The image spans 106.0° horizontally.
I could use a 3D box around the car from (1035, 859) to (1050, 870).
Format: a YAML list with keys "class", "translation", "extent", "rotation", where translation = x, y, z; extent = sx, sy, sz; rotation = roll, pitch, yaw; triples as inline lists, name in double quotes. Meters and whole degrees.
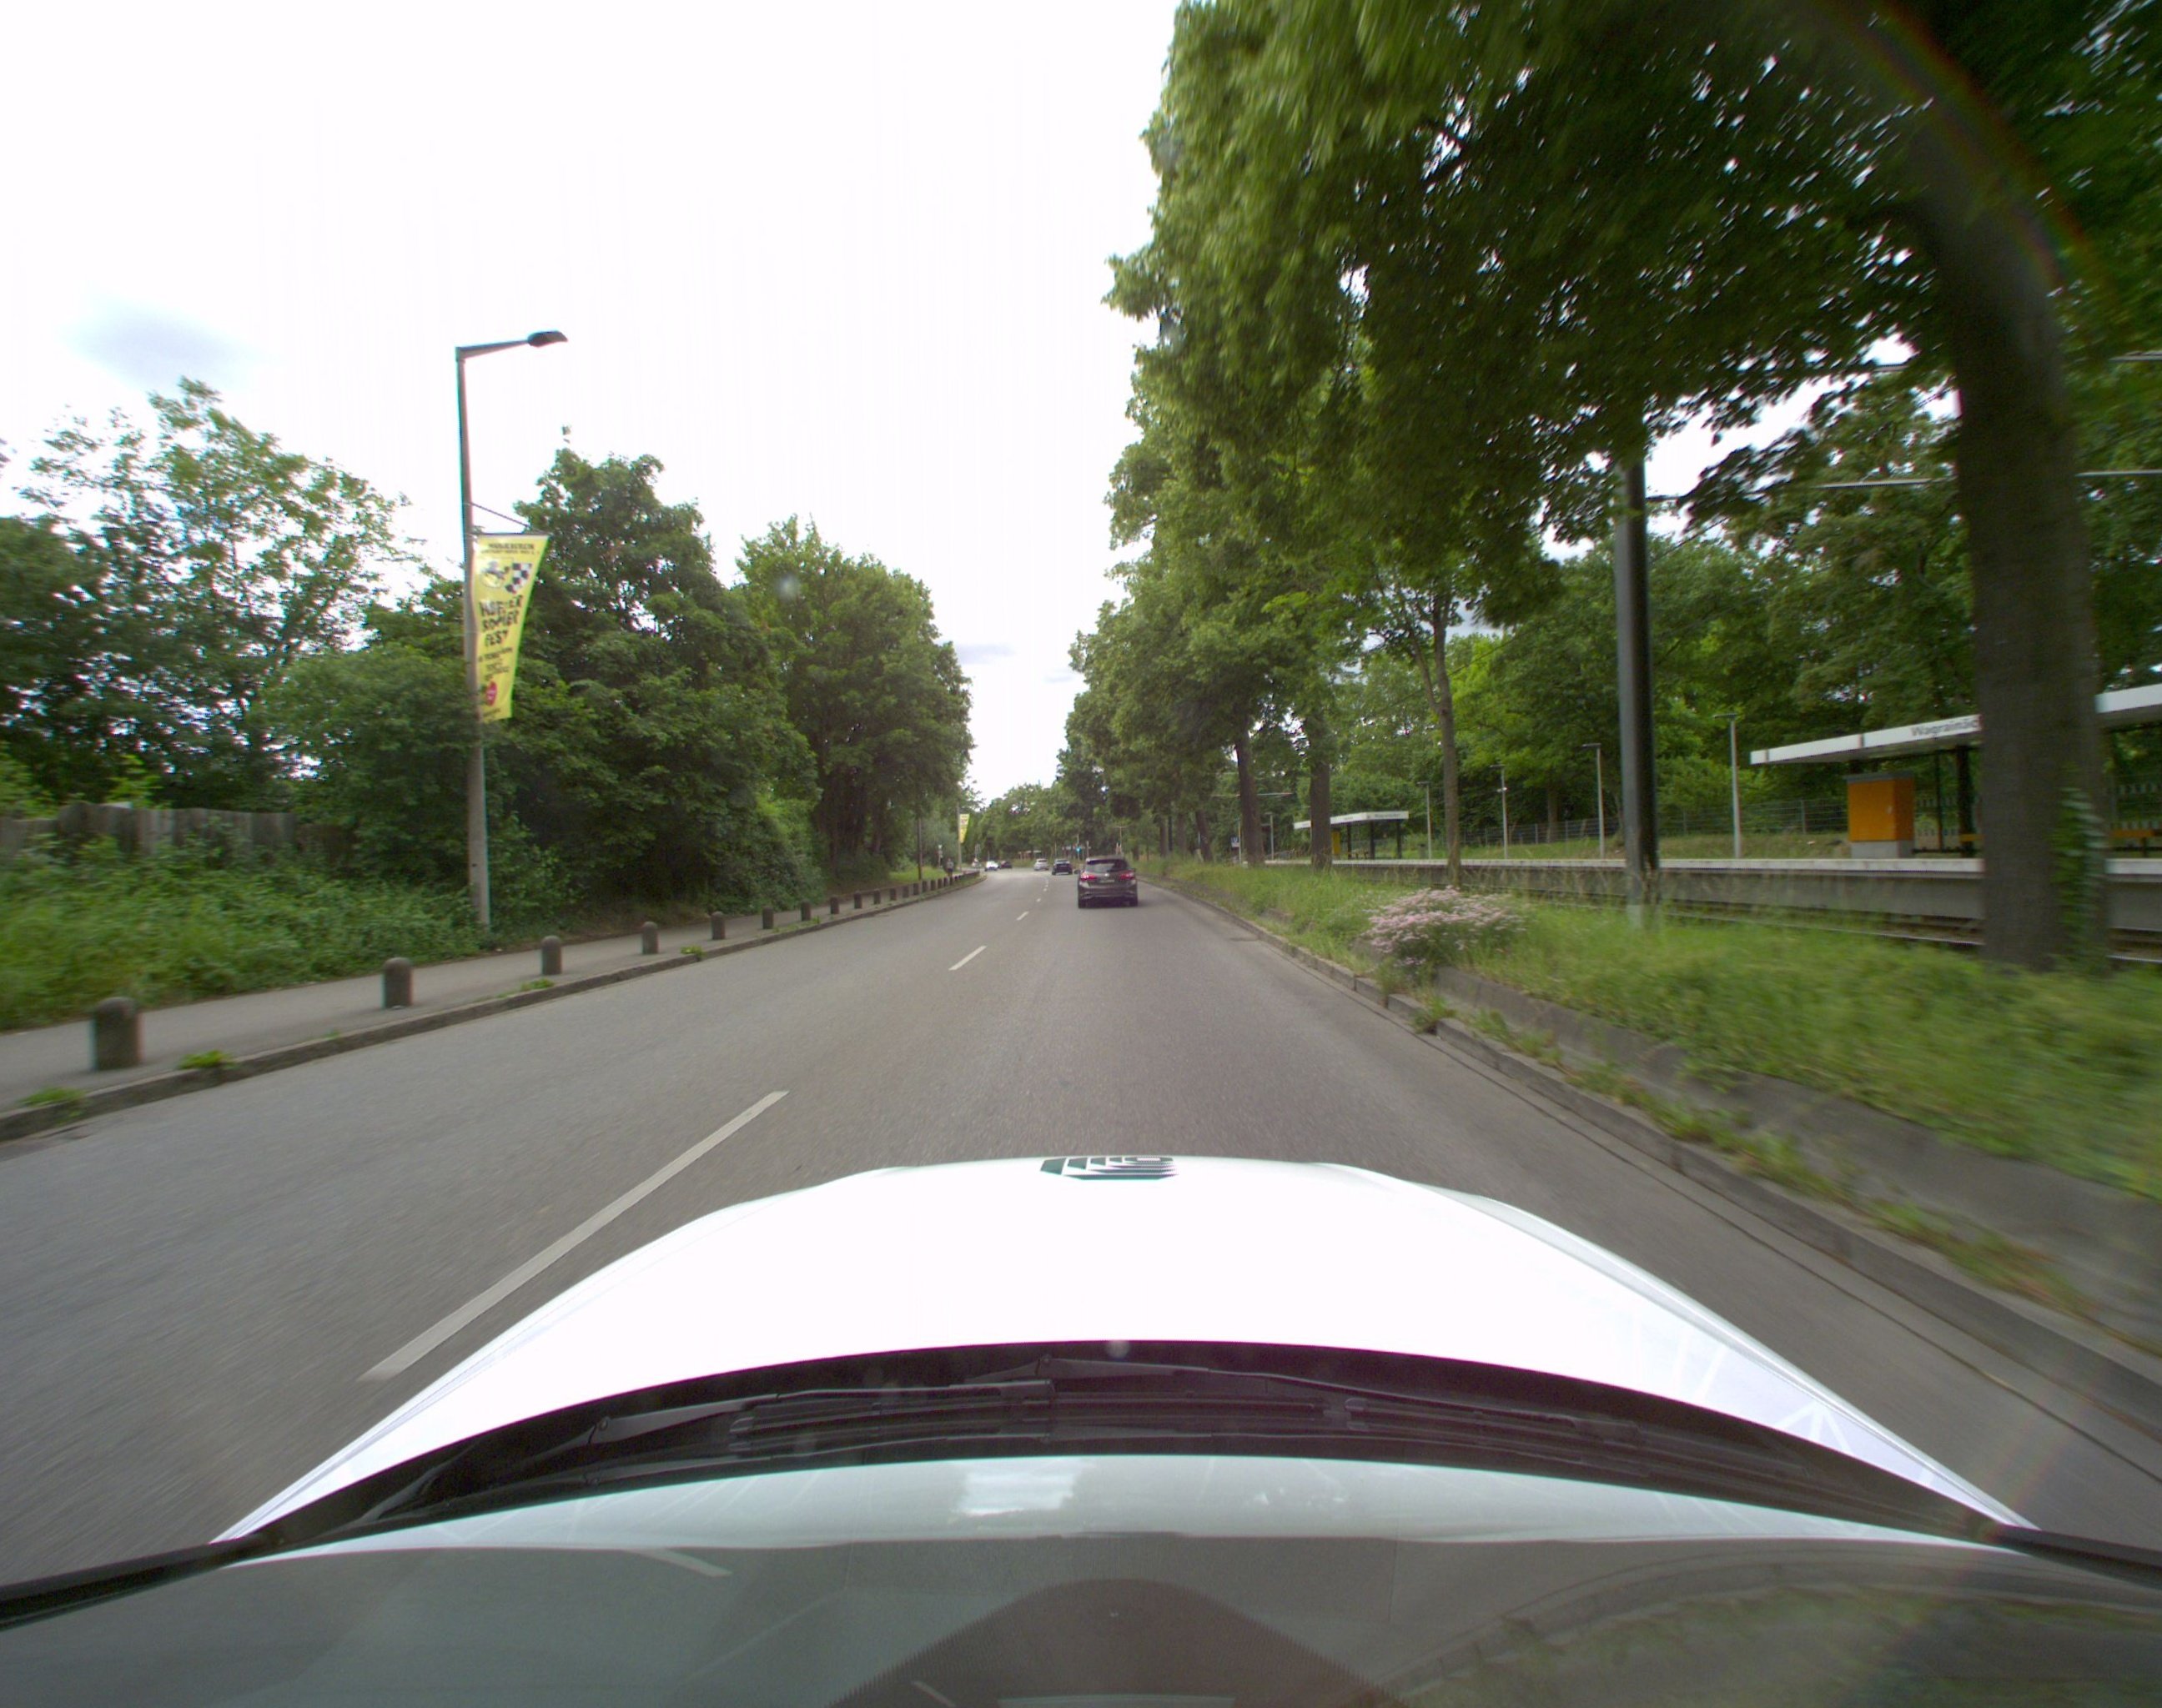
- class: "car"
  translation: [-4.942, 1.338, 104.049]
  extent: [1.773, 1.472, 3.993]
  rotation: [0, 0, -5]

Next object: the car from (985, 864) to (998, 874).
- class: "car"
  translation: [-13.986, 2.324, 127.167]
  extent: [1.770, 1.439, 4.353]
  rotation: [-3, 0, -5]

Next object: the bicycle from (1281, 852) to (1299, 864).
- class: "bicycle"
  translation: [18.422, 0.354, 71.791]
  extent: [1.507, 0.973, 0.449]
  rotation: [0, -1, -7]

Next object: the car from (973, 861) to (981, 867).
- class: "car"
  translation: [-22.910, 2.207, 179.557]
  extent: [1.774, 1.472, 3.990]
  rotation: [0, 0, -7]

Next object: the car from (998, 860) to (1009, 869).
- class: "car"
  translation: [-13.451, 1.866, 141.339]
  extent: [1.773, 1.472, 3.992]
  rotation: [-1, 0, -6]

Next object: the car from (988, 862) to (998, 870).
- class: "car"
  translation: [-16.972, 2.253, 157.520]
  extent: [1.773, 1.472, 3.992]
  rotation: [-1, 0, -6]

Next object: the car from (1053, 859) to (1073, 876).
- class: "car"
  translation: [-1.595, 1.209, 73.770]
  extent: [1.770, 1.472, 3.999]
  rotation: [0, 0, 0]

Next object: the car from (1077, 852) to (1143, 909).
- class: "car"
  translation: [0.862, 0.759, 25.278]
  extent: [1.809, 1.508, 4.001]
  rotation: [-3, 1, 1]

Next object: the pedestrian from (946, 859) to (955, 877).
- class: "pedestrian"
  translation: [-11.754, 1.239, 73.386]
  extent: [0.688, 1.634, 0.837]
  rotation: [0, -1, -4]
